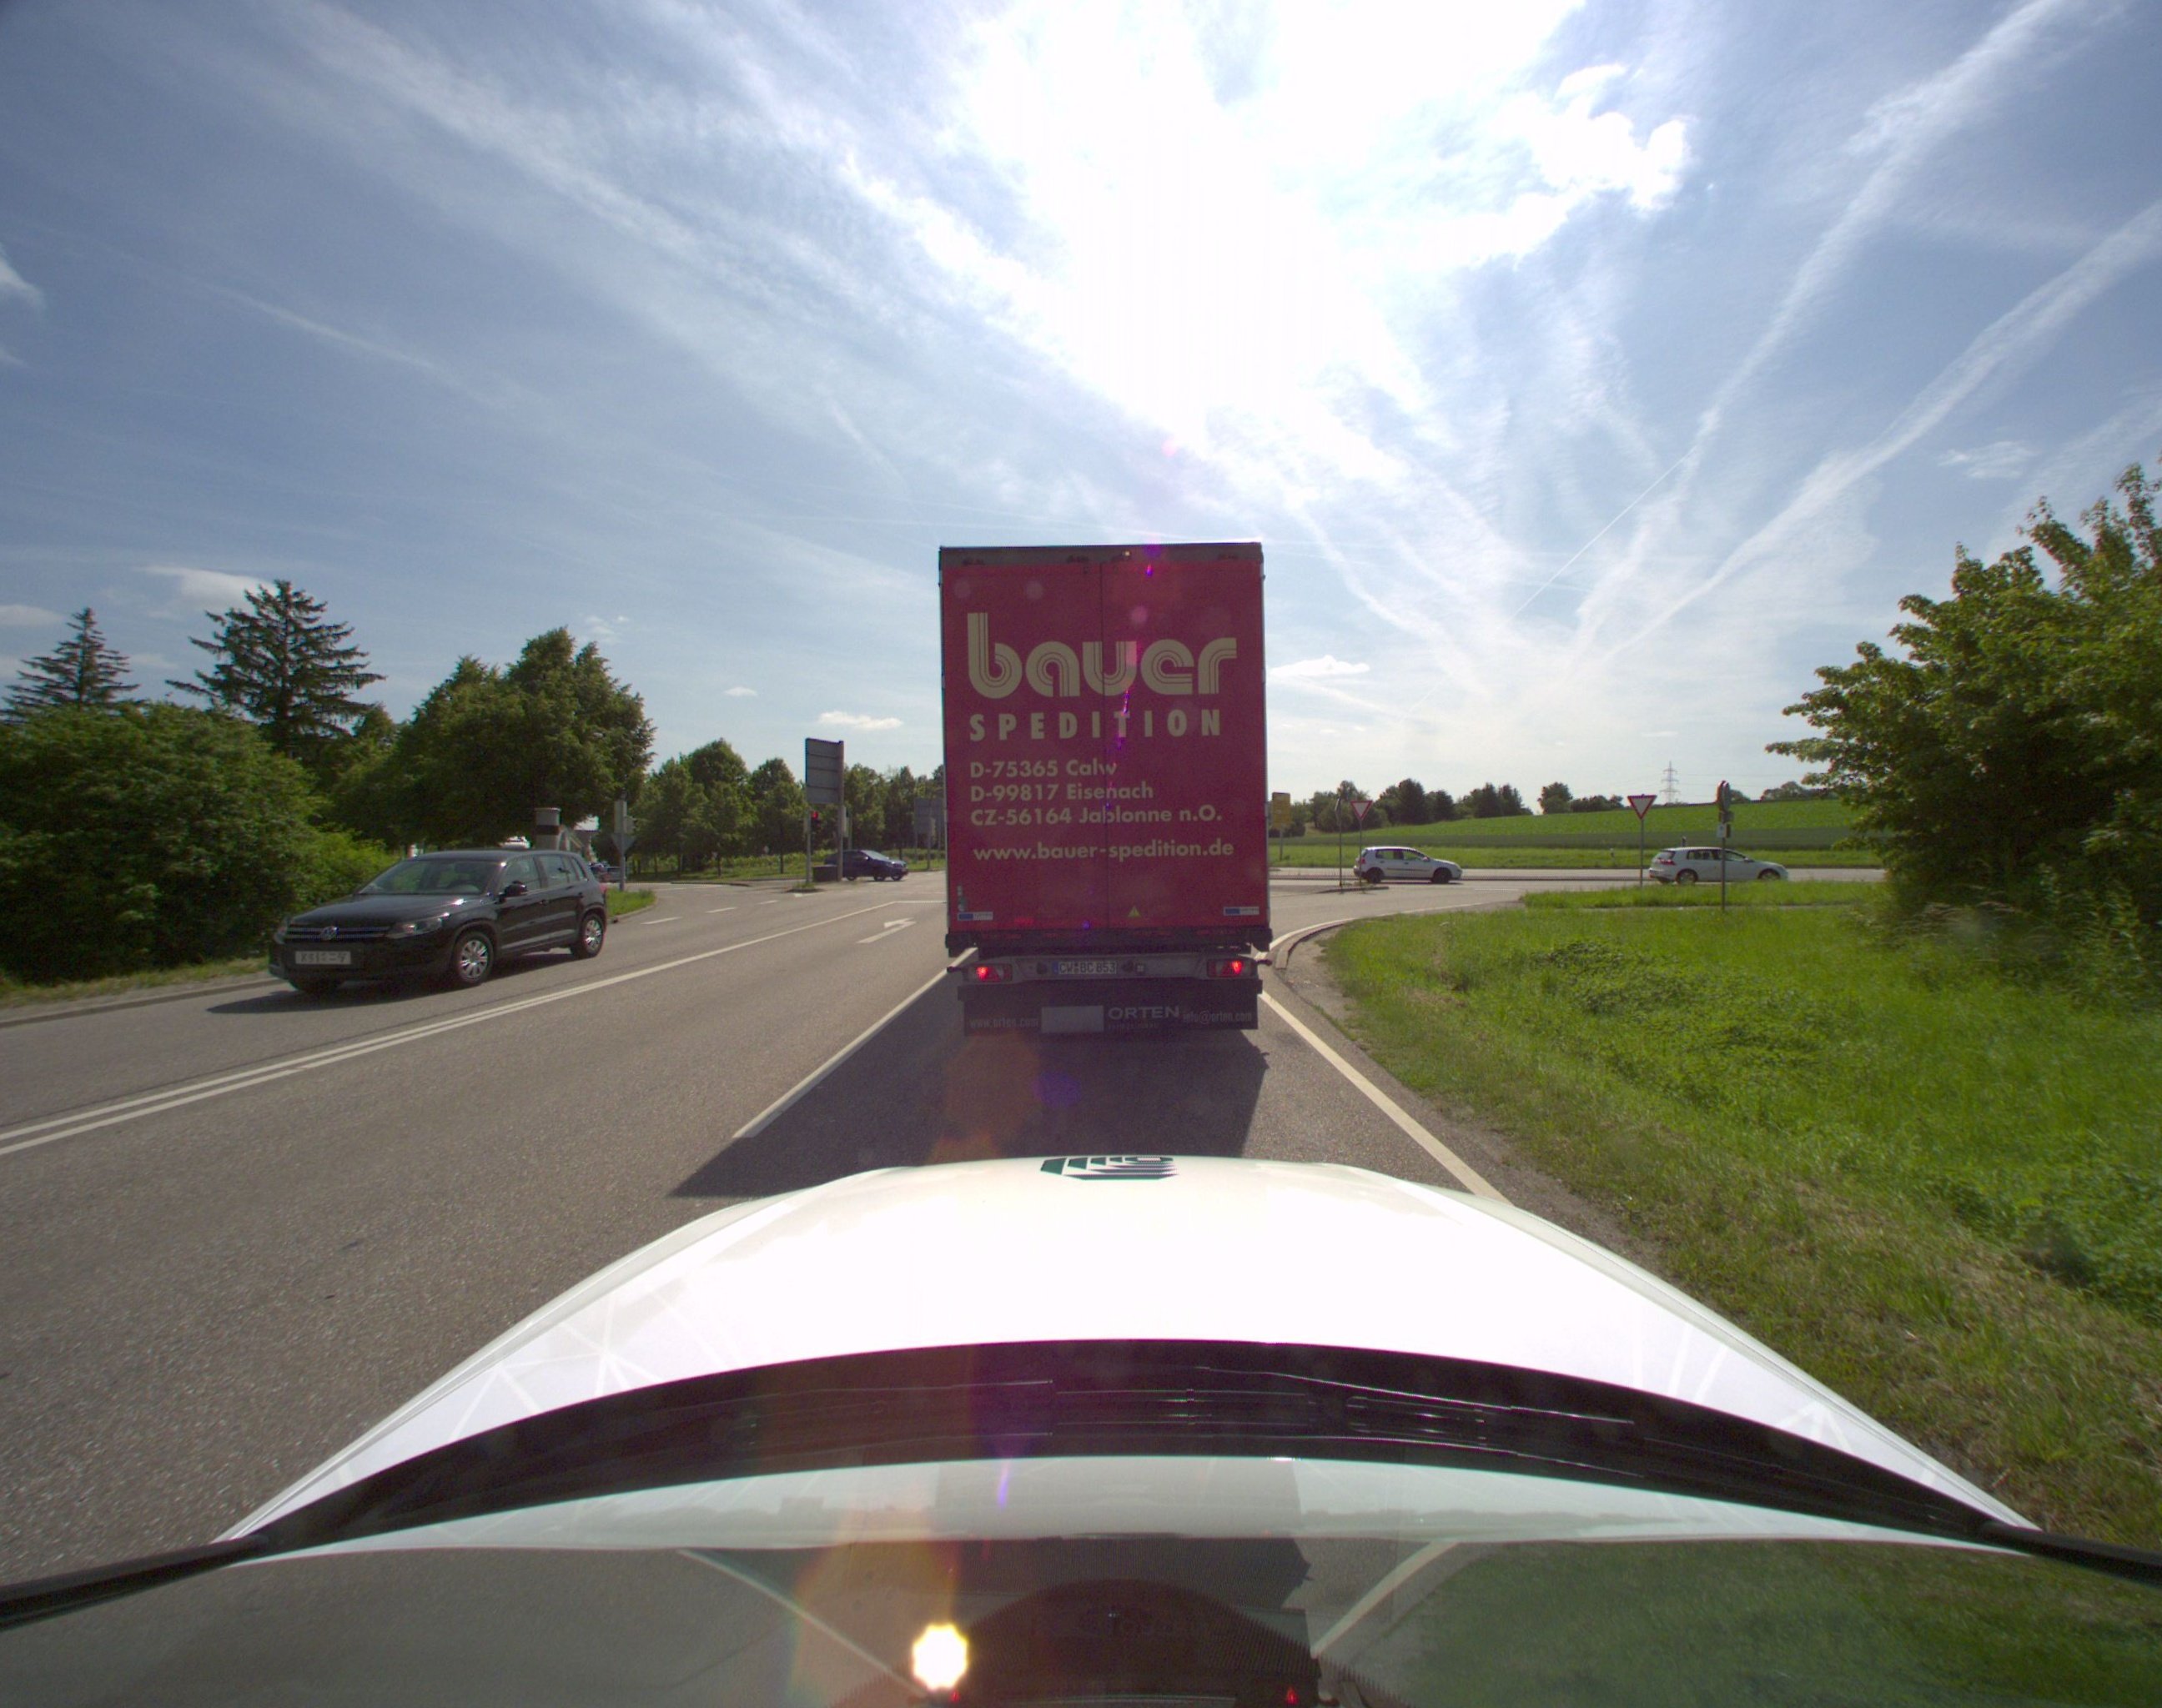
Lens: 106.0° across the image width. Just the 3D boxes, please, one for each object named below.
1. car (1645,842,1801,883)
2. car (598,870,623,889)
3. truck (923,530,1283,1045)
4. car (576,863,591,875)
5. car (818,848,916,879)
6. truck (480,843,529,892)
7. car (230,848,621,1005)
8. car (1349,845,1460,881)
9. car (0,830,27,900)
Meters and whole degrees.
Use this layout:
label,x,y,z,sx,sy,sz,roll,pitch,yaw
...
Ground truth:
label,x,y,z,sx,sy,sz,roll,pitch,yaw
car,23.896,0.321,30.475,4.216,1.461,1.817,0,0,14
car,-40.380,2.170,69.854,1.544,1.491,3.965,0,-1,-35
truck,0.397,-0.566,14.579,2.724,3.925,16.631,-1,0,2
car,-77.768,2.369,127.319,1.764,1.750,3.963,0,-1,-29
car,-10.281,0.466,39.235,4.235,1.429,1.749,0,-1,15
truck,-46.991,1.108,66.581,2.958,3.798,7.844,0,-1,-33
car,-7.970,0.740,10.556,1.800,1.597,4.263,-1,0,-4
car,13.119,0.369,33.240,4.007,1.417,1.801,0,0,12
car,-35.633,0.332,24.356,4.601,2.180,1.985,0,0,-22
